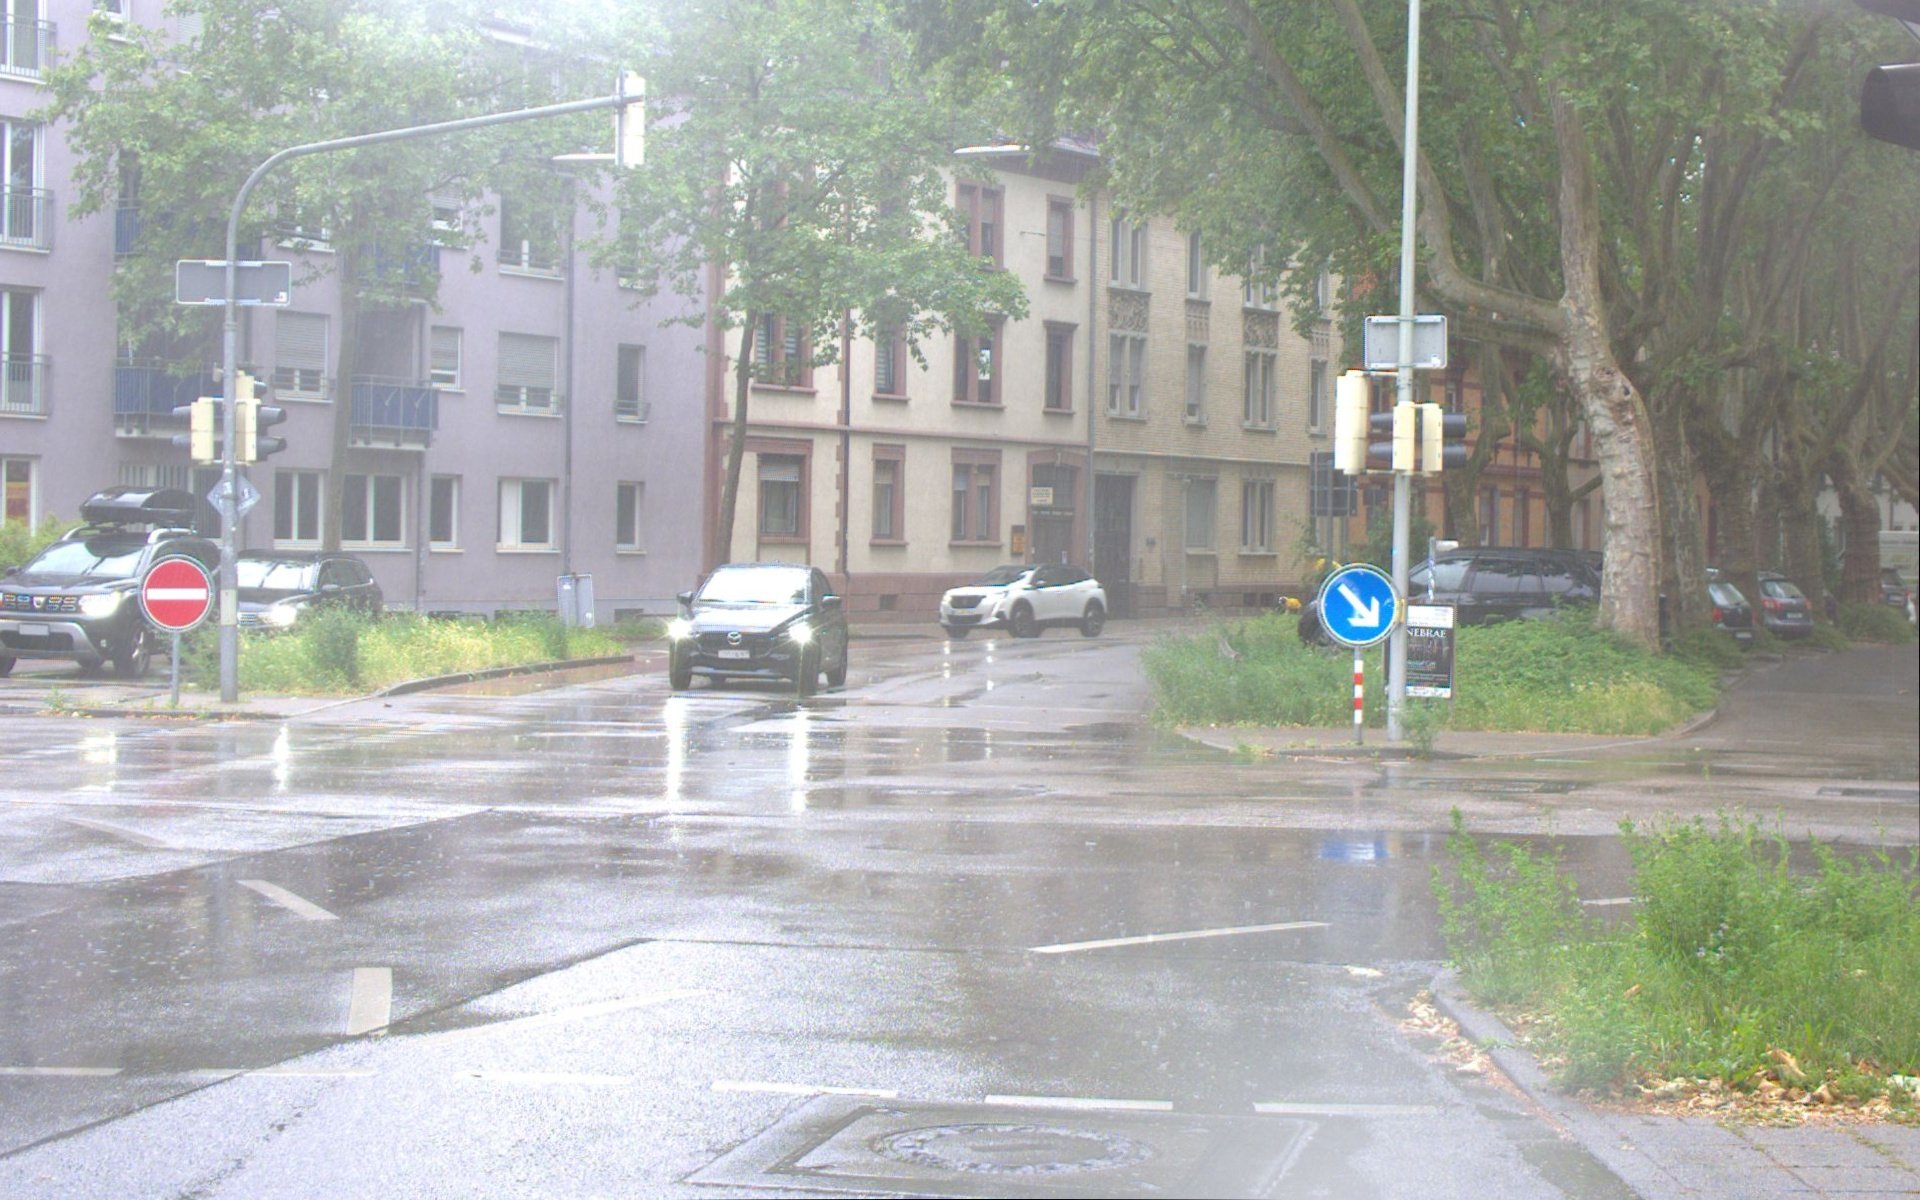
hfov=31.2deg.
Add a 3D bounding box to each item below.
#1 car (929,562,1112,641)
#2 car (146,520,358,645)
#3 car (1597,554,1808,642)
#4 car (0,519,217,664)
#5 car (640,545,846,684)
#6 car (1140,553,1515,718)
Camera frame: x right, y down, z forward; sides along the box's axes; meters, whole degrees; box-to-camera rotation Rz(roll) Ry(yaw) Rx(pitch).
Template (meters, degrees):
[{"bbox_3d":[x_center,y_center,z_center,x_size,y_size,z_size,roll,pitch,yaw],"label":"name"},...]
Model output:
[{"bbox_3d":[1.284,0.008,71.390,1.680,1.547,4.190,0,1,36],"label":"car"},{"bbox_3d":[-9.180,-0.254,44.840,1.725,1.547,3.559,-1,1,5],"label":"car"},{"bbox_3d":[14.162,-0.043,65.566,3.611,1.612,1.679,0,1,28],"label":"car"},{"bbox_3d":[-9.773,-0.124,38.729,1.725,1.547,3.559,-1,1,5],"label":"car"},{"bbox_3d":[-2.513,0.140,40.591,1.603,1.547,3.558,0,1,10],"label":"car"},{"bbox_3d":[3.545,0.329,32.992,3.480,1.518,1.519,-1,1,9],"label":"car"}]
